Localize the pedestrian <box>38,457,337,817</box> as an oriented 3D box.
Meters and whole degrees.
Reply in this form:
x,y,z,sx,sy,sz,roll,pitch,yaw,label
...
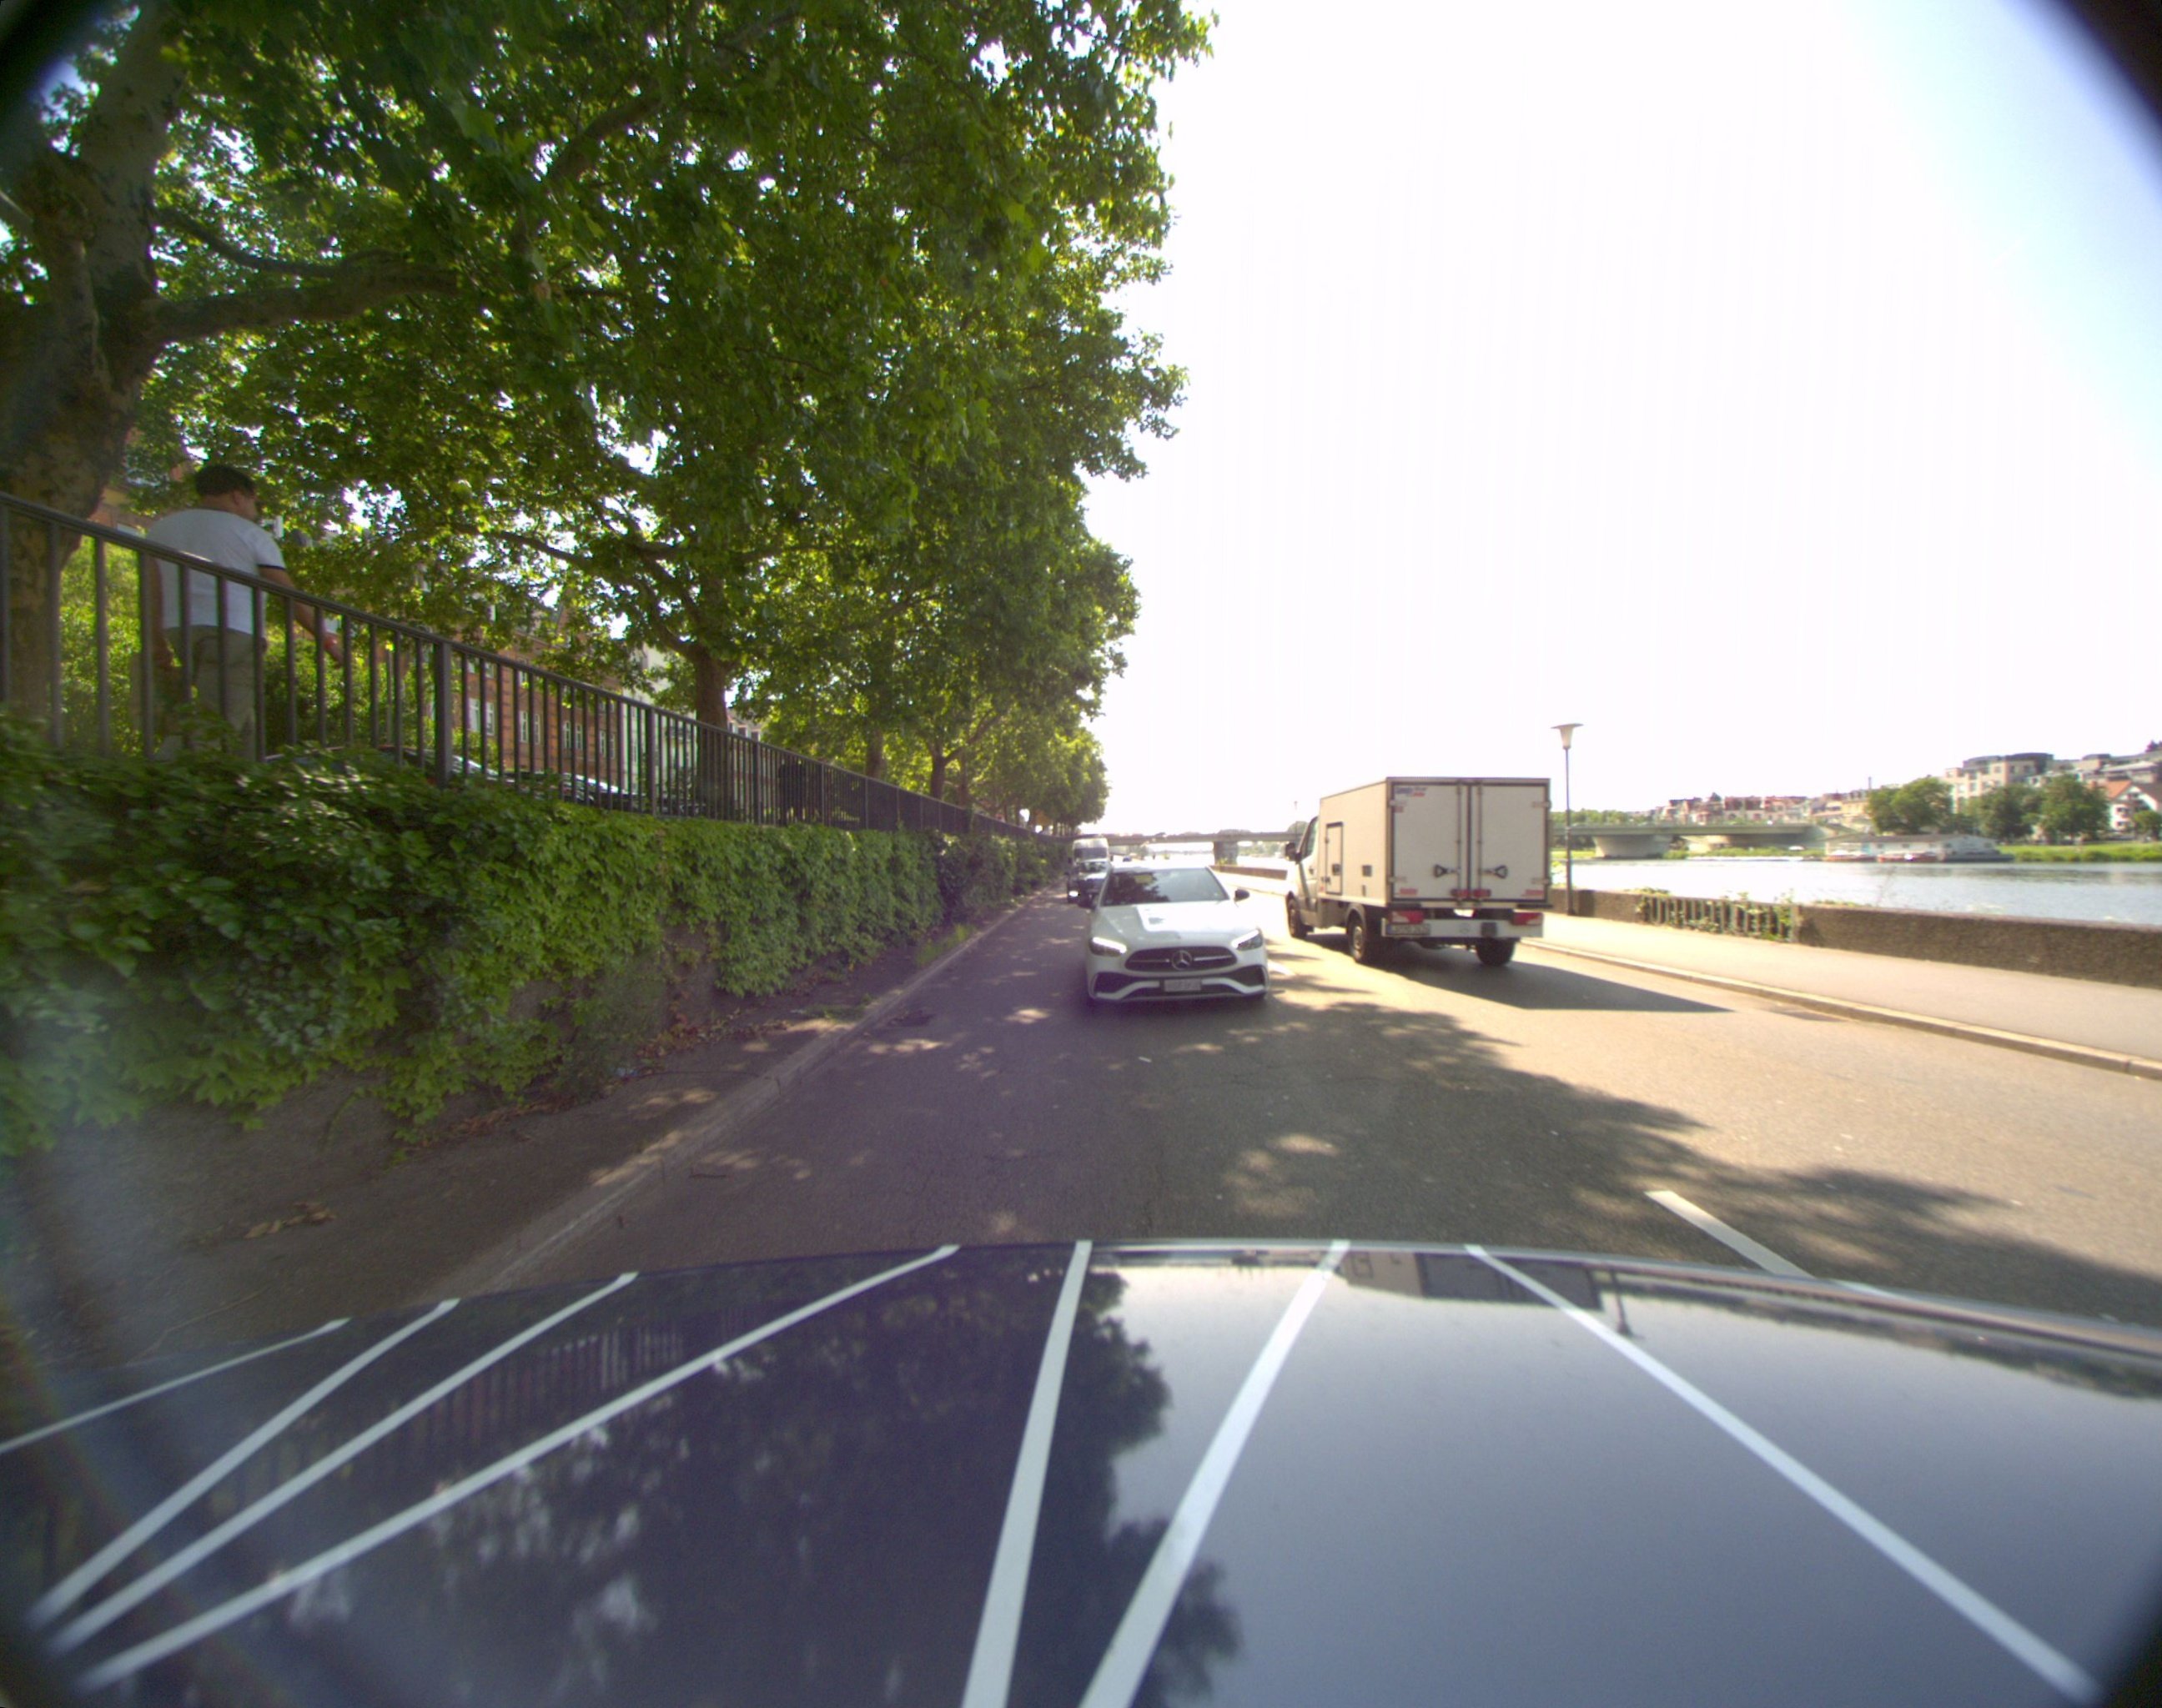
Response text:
x,y,z,sx,sy,sz,roll,pitch,yaw,label
-4.344,-0.991,3.749,0.666,1.582,0.651,-1,1,0,pedestrian

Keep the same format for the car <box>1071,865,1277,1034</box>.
x,y,z,sx,sy,sz,roll,pitch,yaw,label
0.900,0.906,9.219,1.830,1.411,4.552,-2,0,1,car

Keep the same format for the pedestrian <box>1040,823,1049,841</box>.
x,y,z,sx,sy,sz,roll,pitch,yaw,label
-3.314,-1.987,68.668,0.738,1.582,0.811,-1,1,0,pedestrian

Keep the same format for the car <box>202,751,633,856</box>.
x,y,z,sx,sy,sz,roll,pitch,yaw,label
-7.874,-0.571,9.307,3.740,1.108,1.650,-1,0,-2,car

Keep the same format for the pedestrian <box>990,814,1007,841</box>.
x,y,z,sx,sy,sz,roll,pitch,yaw,label
-3.891,-1.233,35.783,0.713,1.236,0.742,-1,1,0,pedestrian

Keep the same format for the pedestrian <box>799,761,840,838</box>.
x,y,z,sx,sy,sz,roll,pitch,yaw,label
-4.912,-1.008,14.297,0.586,1.411,0.589,-1,1,-7,pedestrian

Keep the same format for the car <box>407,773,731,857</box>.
x,y,z,sx,sy,sz,roll,pitch,yaw,label
-7.544,-0.549,11.463,3.740,1.108,1.650,-1,0,0,car

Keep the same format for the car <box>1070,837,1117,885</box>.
x,y,z,sx,sy,sz,roll,pitch,yaw,label
0.639,0.353,41.710,2.351,2.429,6.208,-1,0,0,car

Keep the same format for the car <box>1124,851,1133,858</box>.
x,y,z,sx,sy,sz,roll,pitch,yaw,label
10.224,0.031,162.251,1.676,1.433,3.901,1,0,1,car

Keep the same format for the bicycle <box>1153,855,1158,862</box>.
x,y,z,sx,sy,sz,roll,pitch,yaw,label
10.788,0.613,110.245,0.654,0.977,1.944,-1,0,1,bicycle

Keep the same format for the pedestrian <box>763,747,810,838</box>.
x,y,z,sx,sy,sz,roll,pitch,yaw,label
-5.459,-1.121,14.124,0.649,1.630,0.626,-1,1,-7,pedestrian

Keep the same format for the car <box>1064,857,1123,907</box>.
x,y,z,sx,sy,sz,roll,pitch,yaw,label
0.390,0.893,26.011,1.756,1.385,4.619,-5,0,0,car

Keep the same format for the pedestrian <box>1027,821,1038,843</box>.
x,y,z,sx,sy,sz,roll,pitch,yaw,label
-3.632,-1.648,56.458,0.738,1.582,0.811,-1,1,0,pedestrian

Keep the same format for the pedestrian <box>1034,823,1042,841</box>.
x,y,z,sx,sy,sz,roll,pitch,yaw,label
-3.859,-1.986,68.617,0.666,1.582,0.651,-1,1,0,pedestrian

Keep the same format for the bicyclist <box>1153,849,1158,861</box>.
x,y,z,sx,sy,sz,roll,pitch,yaw,label
10.773,0.170,110.252,0.663,1.692,0.975,-1,1,1,bicyclist

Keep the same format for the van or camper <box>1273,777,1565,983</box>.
x,y,z,sx,sy,sz,roll,pitch,yaw,label
4.609,0.294,11.542,2.082,2.384,5.385,0,0,1,van or camper

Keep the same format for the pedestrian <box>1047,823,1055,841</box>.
x,y,z,sx,sy,sz,roll,pitch,yaw,label
-2.707,-2.006,68.898,0.666,1.582,0.765,-1,1,0,pedestrian
